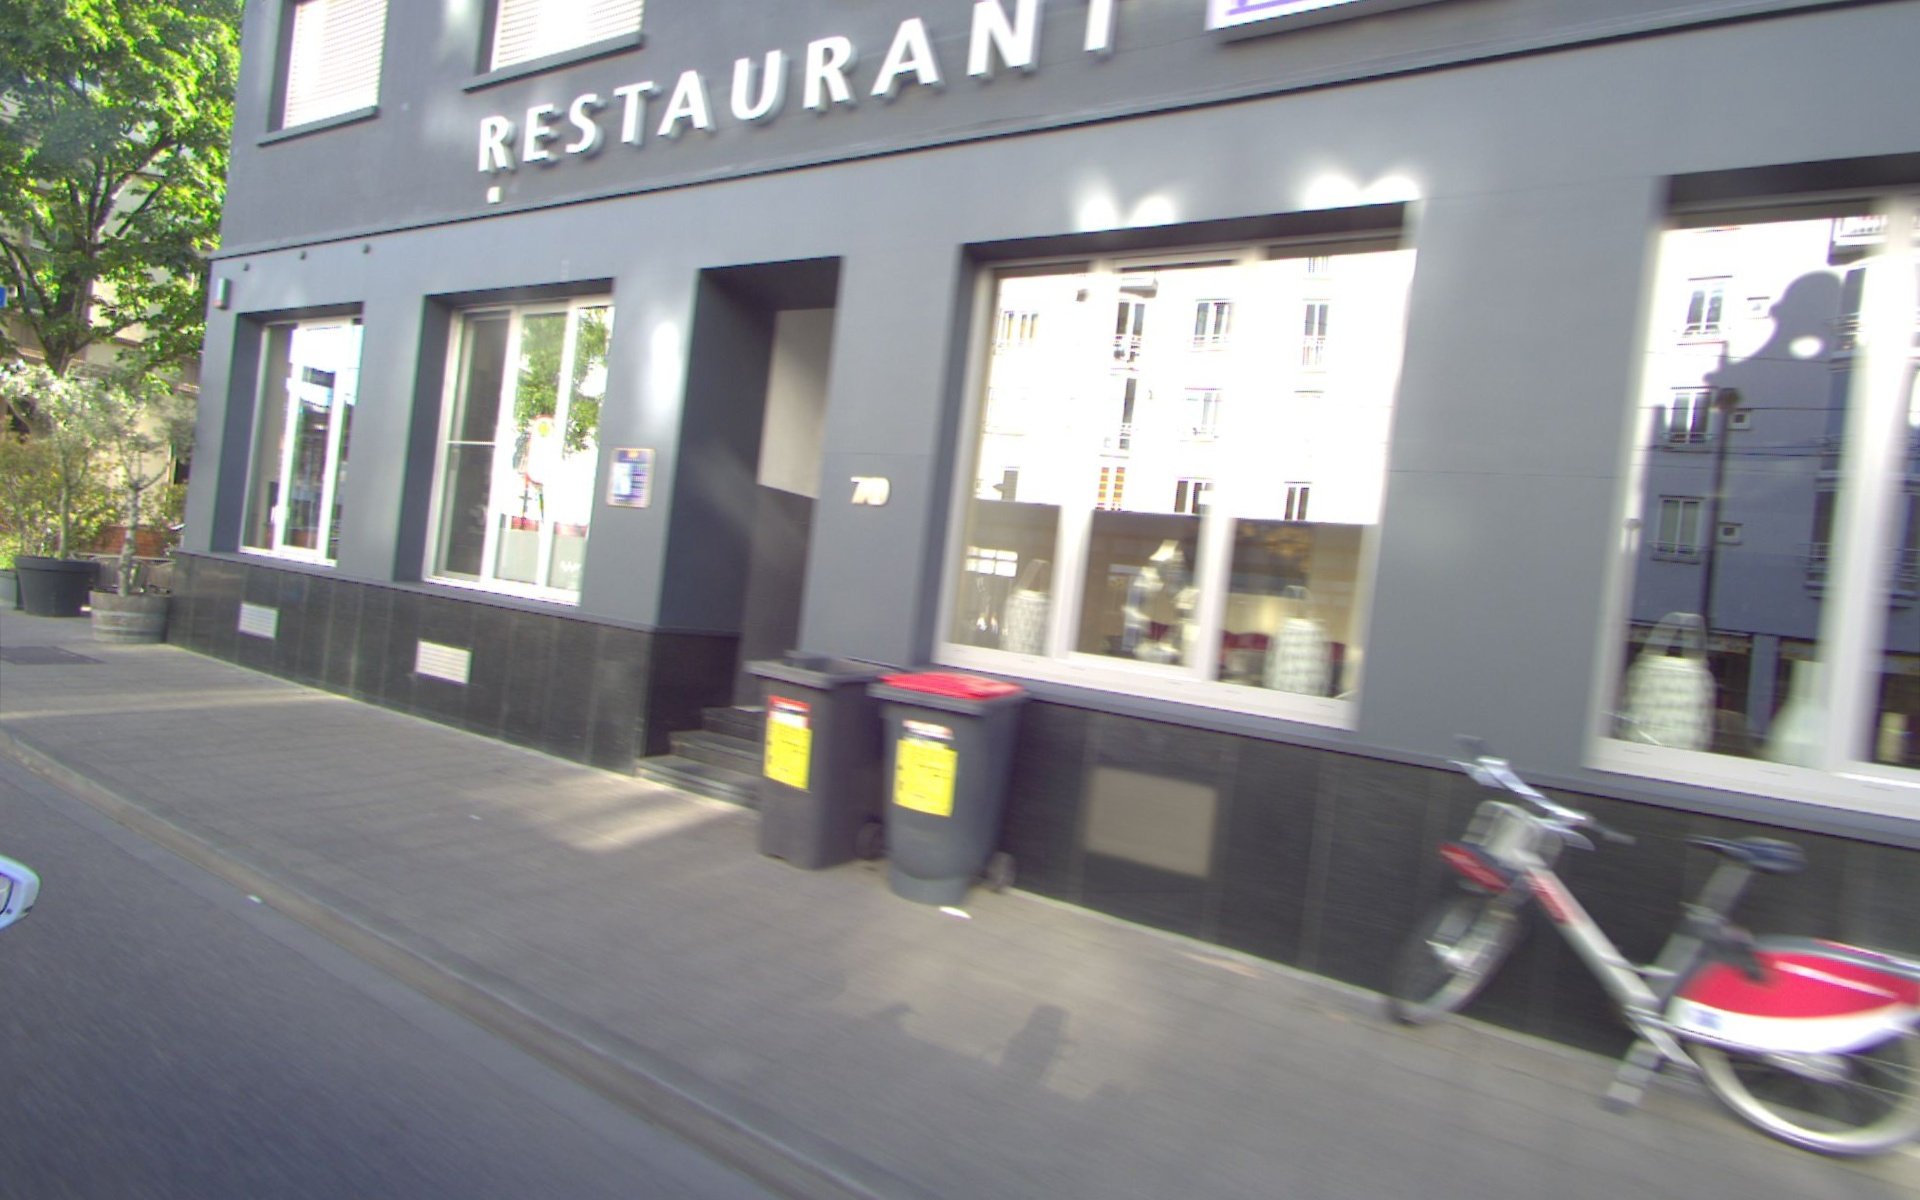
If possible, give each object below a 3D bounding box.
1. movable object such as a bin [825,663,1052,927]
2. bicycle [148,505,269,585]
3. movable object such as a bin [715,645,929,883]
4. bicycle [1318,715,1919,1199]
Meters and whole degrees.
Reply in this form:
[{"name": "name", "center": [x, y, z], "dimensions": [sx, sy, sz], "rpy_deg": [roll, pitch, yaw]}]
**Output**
[{"name": "movable object such as a bin", "center": [-0.093, 0.887, 4.904], "dimensions": [0.741, 1.050, 0.748], "rpy_deg": [6, 3, 32]}, {"name": "bicycle", "center": [-15.529, -1.121, 20.835], "dimensions": [1.828, 1.309, 0.344], "rpy_deg": [11, 1, -26]}, {"name": "movable object such as a bin", "center": [-0.718, 0.807, 5.303], "dimensions": [0.741, 1.050, 0.748], "rpy_deg": [6, 3, 32]}, {"name": "bicycle", "center": [2.243, 1.100, 3.462], "dimensions": [1.744, 1.137, 0.459], "rpy_deg": [6, 1, 32]}]
